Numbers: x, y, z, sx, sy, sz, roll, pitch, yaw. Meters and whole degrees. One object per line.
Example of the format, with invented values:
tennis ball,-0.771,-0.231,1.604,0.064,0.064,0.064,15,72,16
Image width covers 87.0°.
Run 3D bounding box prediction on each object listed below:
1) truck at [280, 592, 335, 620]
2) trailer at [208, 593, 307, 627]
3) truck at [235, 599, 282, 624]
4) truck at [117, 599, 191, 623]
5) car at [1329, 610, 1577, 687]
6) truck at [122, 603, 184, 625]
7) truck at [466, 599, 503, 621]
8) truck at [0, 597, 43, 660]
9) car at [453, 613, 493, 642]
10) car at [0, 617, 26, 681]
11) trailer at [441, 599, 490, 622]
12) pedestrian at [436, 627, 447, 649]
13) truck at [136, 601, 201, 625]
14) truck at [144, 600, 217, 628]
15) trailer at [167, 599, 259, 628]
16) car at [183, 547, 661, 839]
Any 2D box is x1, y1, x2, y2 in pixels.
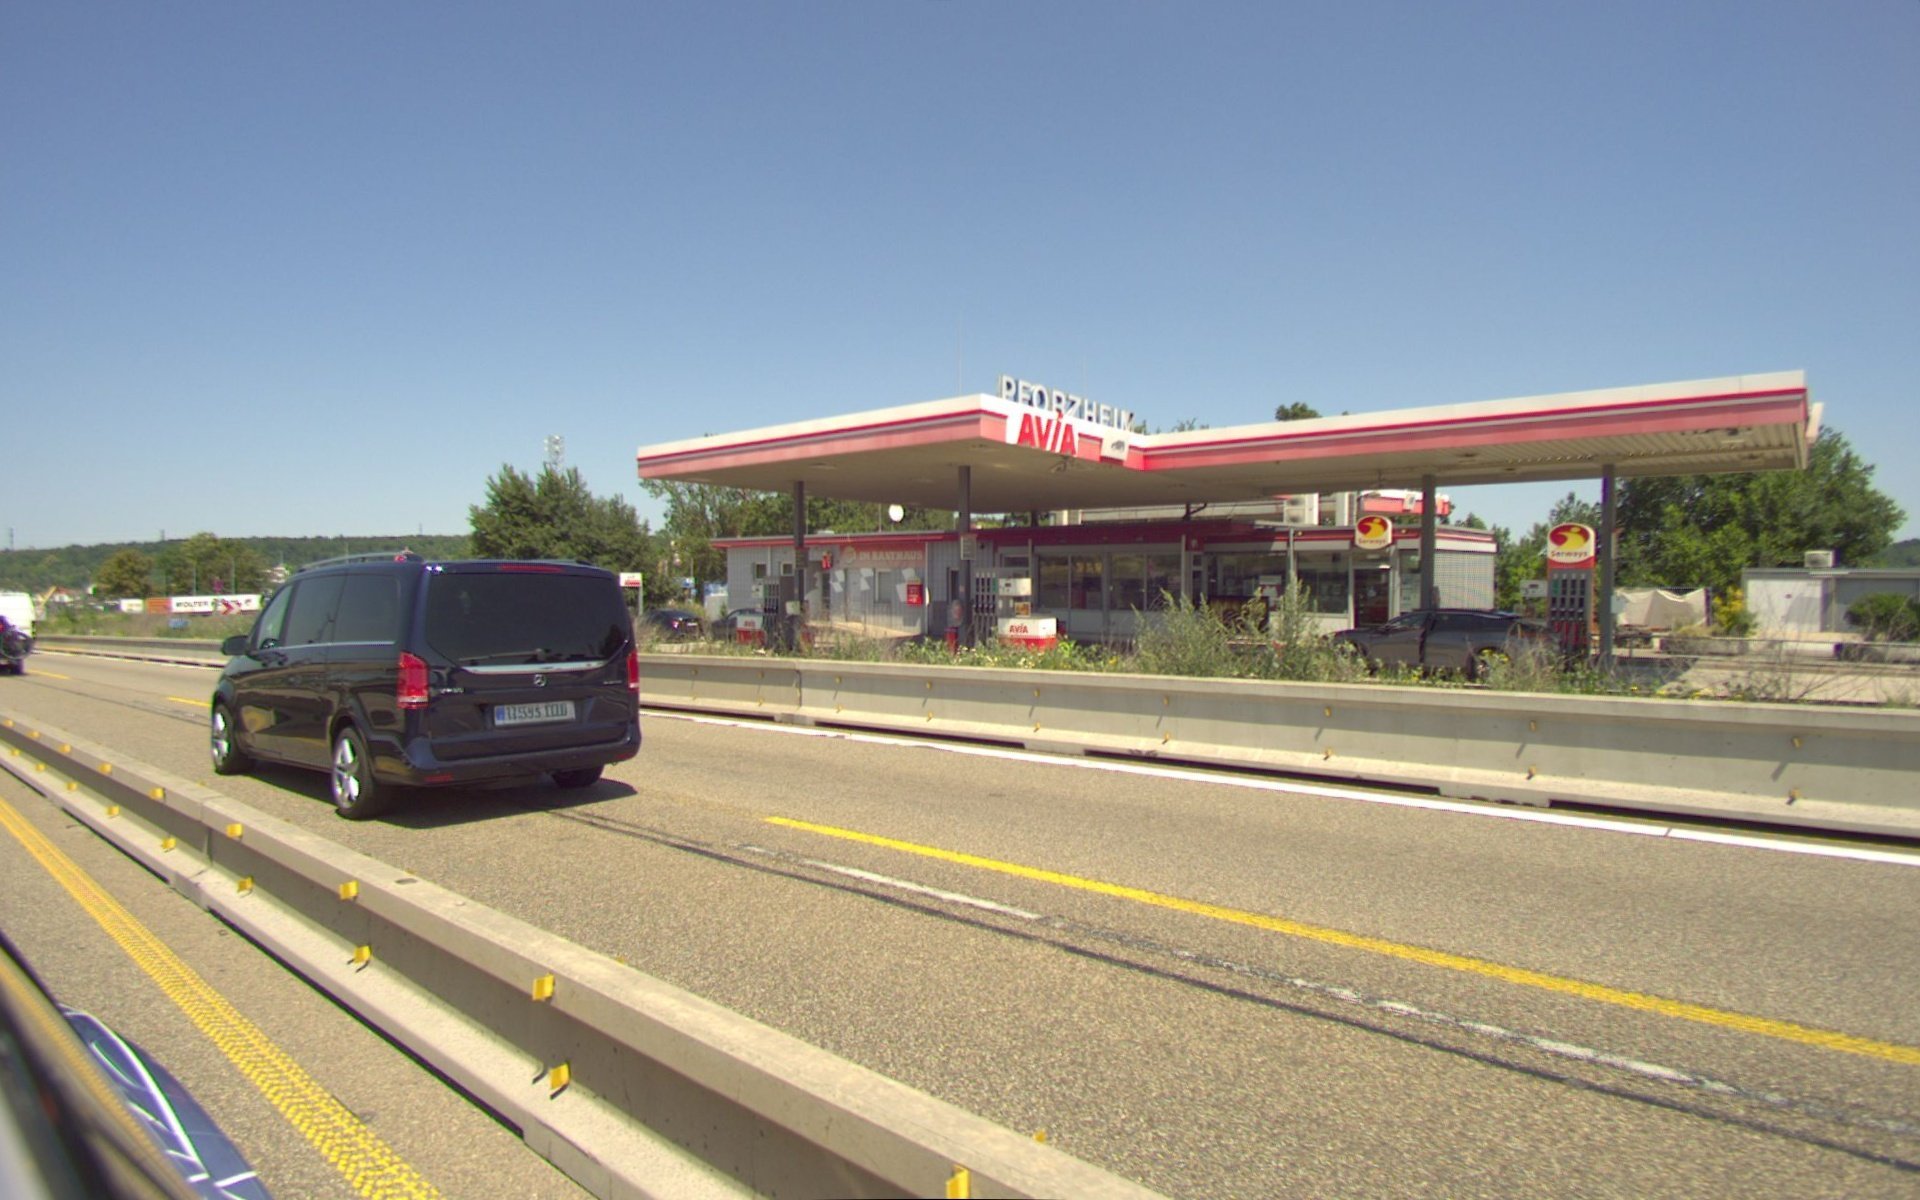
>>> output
truck,-97.892,0.840,151.925,6.054,3.777,2.837,-4,2,-5
trailer,-105.041,1.466,151.377,12.192,4.197,2.864,-4,2,-4
truck,-116.810,1.872,168.552,5.647,3.644,2.585,-4,2,-8
truck,-155.838,2.197,195.743,11.343,3.701,2.534,-4,2,-5
car,10.056,0.950,20.845,4.314,1.422,1.732,-1,-3,42
truck,-152.795,2.591,191.614,9.017,3.568,2.695,-4,2,-6
truck,-64.059,1.333,136.267,5.624,2.789,2.248,-2,0,39
truck,-45.265,1.337,47.680,6.488,2.807,2.216,-2,-1,40
car,-27.513,1.529,57.264,1.478,1.342,4.199,-4,2,-19
car,-26.790,1.330,27.256,4.732,1.616,1.837,-2,-1,40
trailer,-68.276,1.484,139.702,9.384,2.789,2.232,-2,0,39
pedestrian,-28.858,2.106,56.310,0.467,1.214,0.587,-1,-1,-35
truck,-143.799,2.329,183.933,9.134,3.701,2.867,-4,2,-5
truck,-138.530,2.437,179.933,9.741,4.251,3.590,-4,2,-6
trailer,-123.823,2.210,167.863,12.560,3.812,2.624,-4,2,-5
car,-4.841,0.645,8.693,5.078,1.818,1.888,-2,-1,40
